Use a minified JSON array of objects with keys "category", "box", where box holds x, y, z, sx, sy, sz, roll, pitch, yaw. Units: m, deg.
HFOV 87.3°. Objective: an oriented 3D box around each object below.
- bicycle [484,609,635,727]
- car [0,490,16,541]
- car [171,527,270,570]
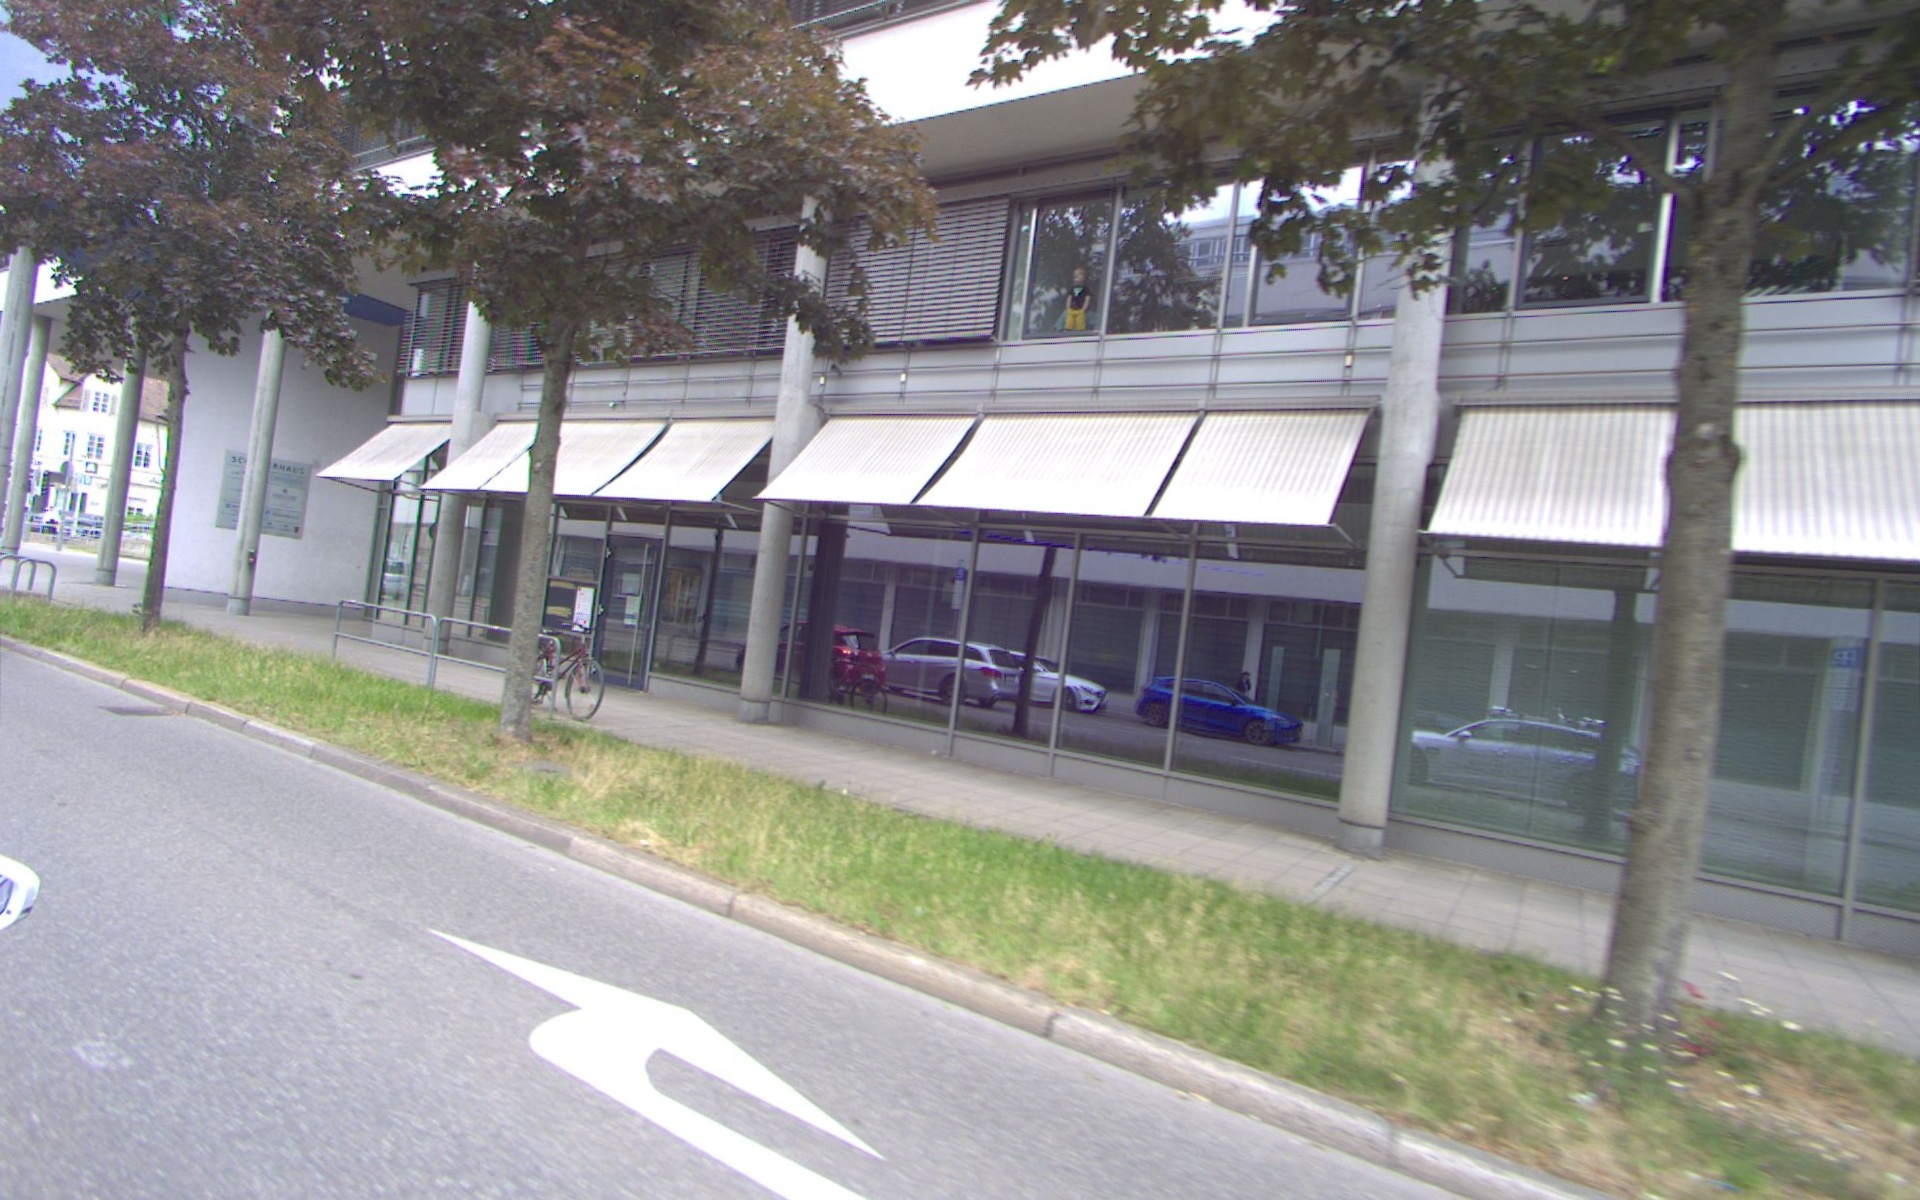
[{"category":"bicycle","box":[-4.668,0.762,11.664,1.993,1.099,0.362,6,-2,31]},{"category":"car","box":[-40.125,-3.778,38.870,1.848,1.965,4.918,8,-4,13]},{"category":"car","box":[-48.579,-3.360,66.166,4.701,1.940,1.990,8,-3,-6]}]
